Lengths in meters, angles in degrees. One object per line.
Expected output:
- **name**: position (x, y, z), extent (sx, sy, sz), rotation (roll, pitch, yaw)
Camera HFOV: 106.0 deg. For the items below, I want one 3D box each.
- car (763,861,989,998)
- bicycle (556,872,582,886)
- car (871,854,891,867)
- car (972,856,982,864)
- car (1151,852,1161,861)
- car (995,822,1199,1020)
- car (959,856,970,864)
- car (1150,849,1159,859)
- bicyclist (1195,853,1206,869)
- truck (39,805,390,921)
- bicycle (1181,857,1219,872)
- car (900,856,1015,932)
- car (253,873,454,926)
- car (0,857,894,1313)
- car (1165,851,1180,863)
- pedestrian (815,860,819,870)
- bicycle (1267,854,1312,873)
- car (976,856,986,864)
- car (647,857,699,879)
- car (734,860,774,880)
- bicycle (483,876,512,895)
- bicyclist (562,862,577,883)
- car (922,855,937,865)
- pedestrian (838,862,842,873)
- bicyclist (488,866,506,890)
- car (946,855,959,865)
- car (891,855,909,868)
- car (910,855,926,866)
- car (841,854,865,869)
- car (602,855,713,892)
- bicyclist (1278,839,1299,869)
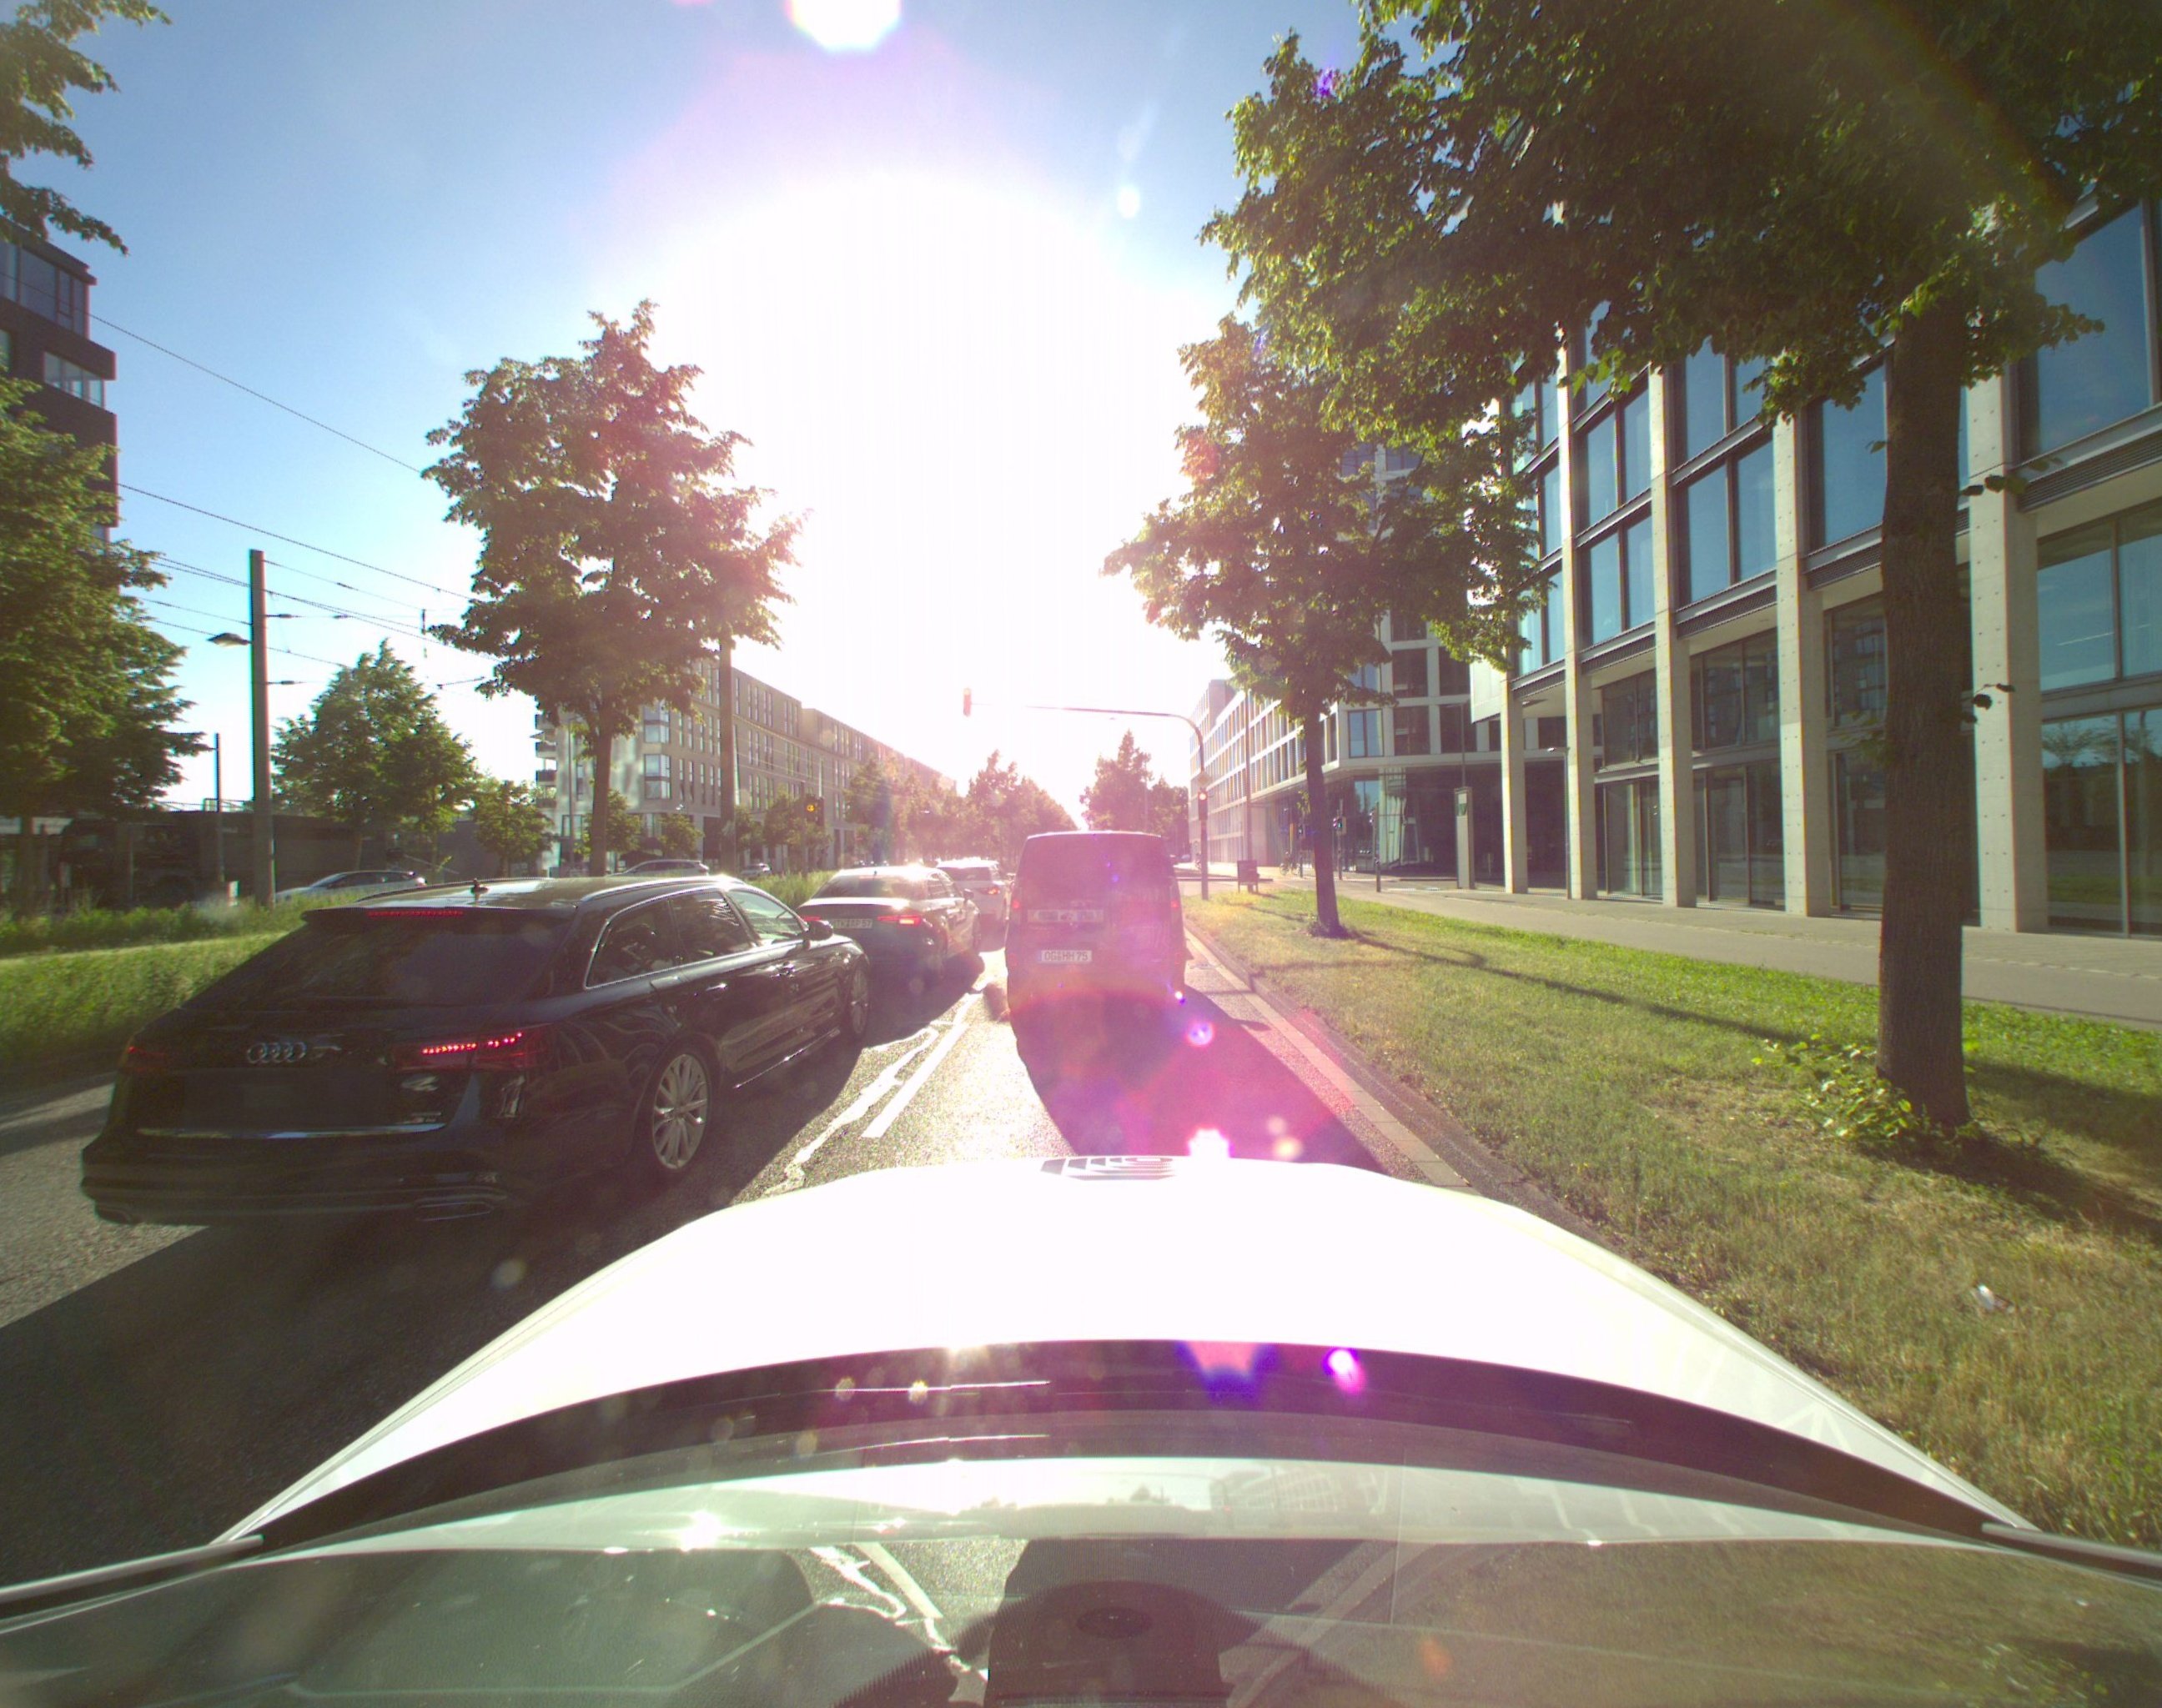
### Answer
- **car**: position (-2.497, 0.847, 11.100), extent (1.835, 1.426, 4.340), rotation (-1, 0, 2)
- **bicycle**: position (-37.972, 1.848, 60.405), extent (0.674, 0.988, 1.957), rotation (-1, 0, 2)
- **car**: position (-30.752, 0.989, 125.136), extent (1.986, 2.013, 4.002), rotation (-1, 0, 2)
- **car**: position (-27.890, 1.538, 218.192), extent (1.986, 2.013, 4.002), rotation (-1, 0, 2)
- **car**: position (16.515, 0.559, 179.671), extent (1.986, 1.782, 4.002), rotation (-1, 0, 2)
- **car**: position (0.209, 0.613, 9.443), extent (1.835, 1.780, 4.002), rotation (-1, 0, 2)
- **car**: position (-28.602, 1.429, 200.179), extent (1.986, 2.013, 4.002), rotation (-1, 0, 2)
- **car**: position (17.900, 0.041, 198.173), extent (1.986, 2.497, 4.988), rotation (-1, 0, 2)
- **bicyclist**: position (9.477, 0.542, 64.645), extent (0.674, 1.275, 0.825), rotation (-1, 0, 23)
- **truck**: position (-33.633, 0.289, 32.642), extent (2.880, 3.853, 10.218), rotation (-1, 0, 2)
- **bicycle**: position (9.454, 0.832, 64.693), extent (2.814, 1.114, 0.824), rotation (-1, 0, 17)
- **car**: position (-2.566, 0.787, 17.816), extent (1.797, 1.426, 3.902), rotation (-1, 0, 2)
- **car**: position (-23.905, 1.438, 26.991), extent (1.782, 1.447, 4.596), rotation (-1, 0, 26)
- **car**: position (-2.760, 0.789, 5.247), extent (1.868, 1.484, 4.967), rotation (-1, 0, 1)
- **car**: position (14.330, 0.442, 127.891), extent (1.986, 1.782, 4.002), rotation (-1, 0, 2)
- **pedestrian**: position (-37.511, 1.517, 115.779), extent (0.462, 1.438, 0.387), rotation (-1, 0, -11)
- **bicycle**: position (13.852, 0.643, 54.267), extent (0.822, 1.190, 2.916), rotation (-1, 0, -42)
- **car**: position (-27.432, 1.576, 223.809), extent (1.986, 2.013, 4.002), rotation (-1, 0, 2)
- **car**: position (-31.046, 1.039, 62.069), extent (1.758, 1.520, 4.002), rotation (-1, 0, 2)
- **car**: position (-31.798, 1.536, 79.241), extent (1.986, 1.814, 4.372), rotation (-1, 0, 2)
- **bicycle**: position (-35.261, 1.898, 49.240), extent (0.475, 1.035, 1.757), rotation (-1, 0, 2)
- **bicyclist**: position (-37.975, 1.396, 60.459), extent (0.674, 1.529, 0.714), rotation (-1, 0, 1)
- **car**: position (-29.689, 1.191, 159.377), extent (1.986, 2.013, 4.002), rotation (-1, 0, 2)
- **pedestrian**: position (-39.316, 2.242, 132.839), extent (0.466, 1.744, 0.480), rotation (-1, 0, 1)
- **bicyclist**: position (-35.267, 1.444, 49.186), extent (0.475, 1.424, 0.821), rotation (-1, 0, 2)
- **car**: position (-28.893, 1.334, 183.360), extent (1.986, 2.013, 4.002), rotation (-1, 0, 2)
- **car**: position (-30.581, 1.278, 137.452), extent (1.986, 2.013, 4.002), rotation (-1, 0, 2)
- **car**: position (-30.102, 1.135, 150.280), extent (1.986, 2.013, 4.002), rotation (-1, 0, 2)
- **car**: position (-30.879, 0.991, 110.591), extent (1.986, 2.013, 4.002), rotation (-1, 0, 2)
- **car**: position (-18.613, 0.831, 35.928), extent (4.225, 1.492, 1.506), rotation (-1, 0, -27)
- **bicyclist**: position (13.823, -0.010, 54.287), extent (0.822, 1.947, 0.990), rotation (-1, 0, -42)
